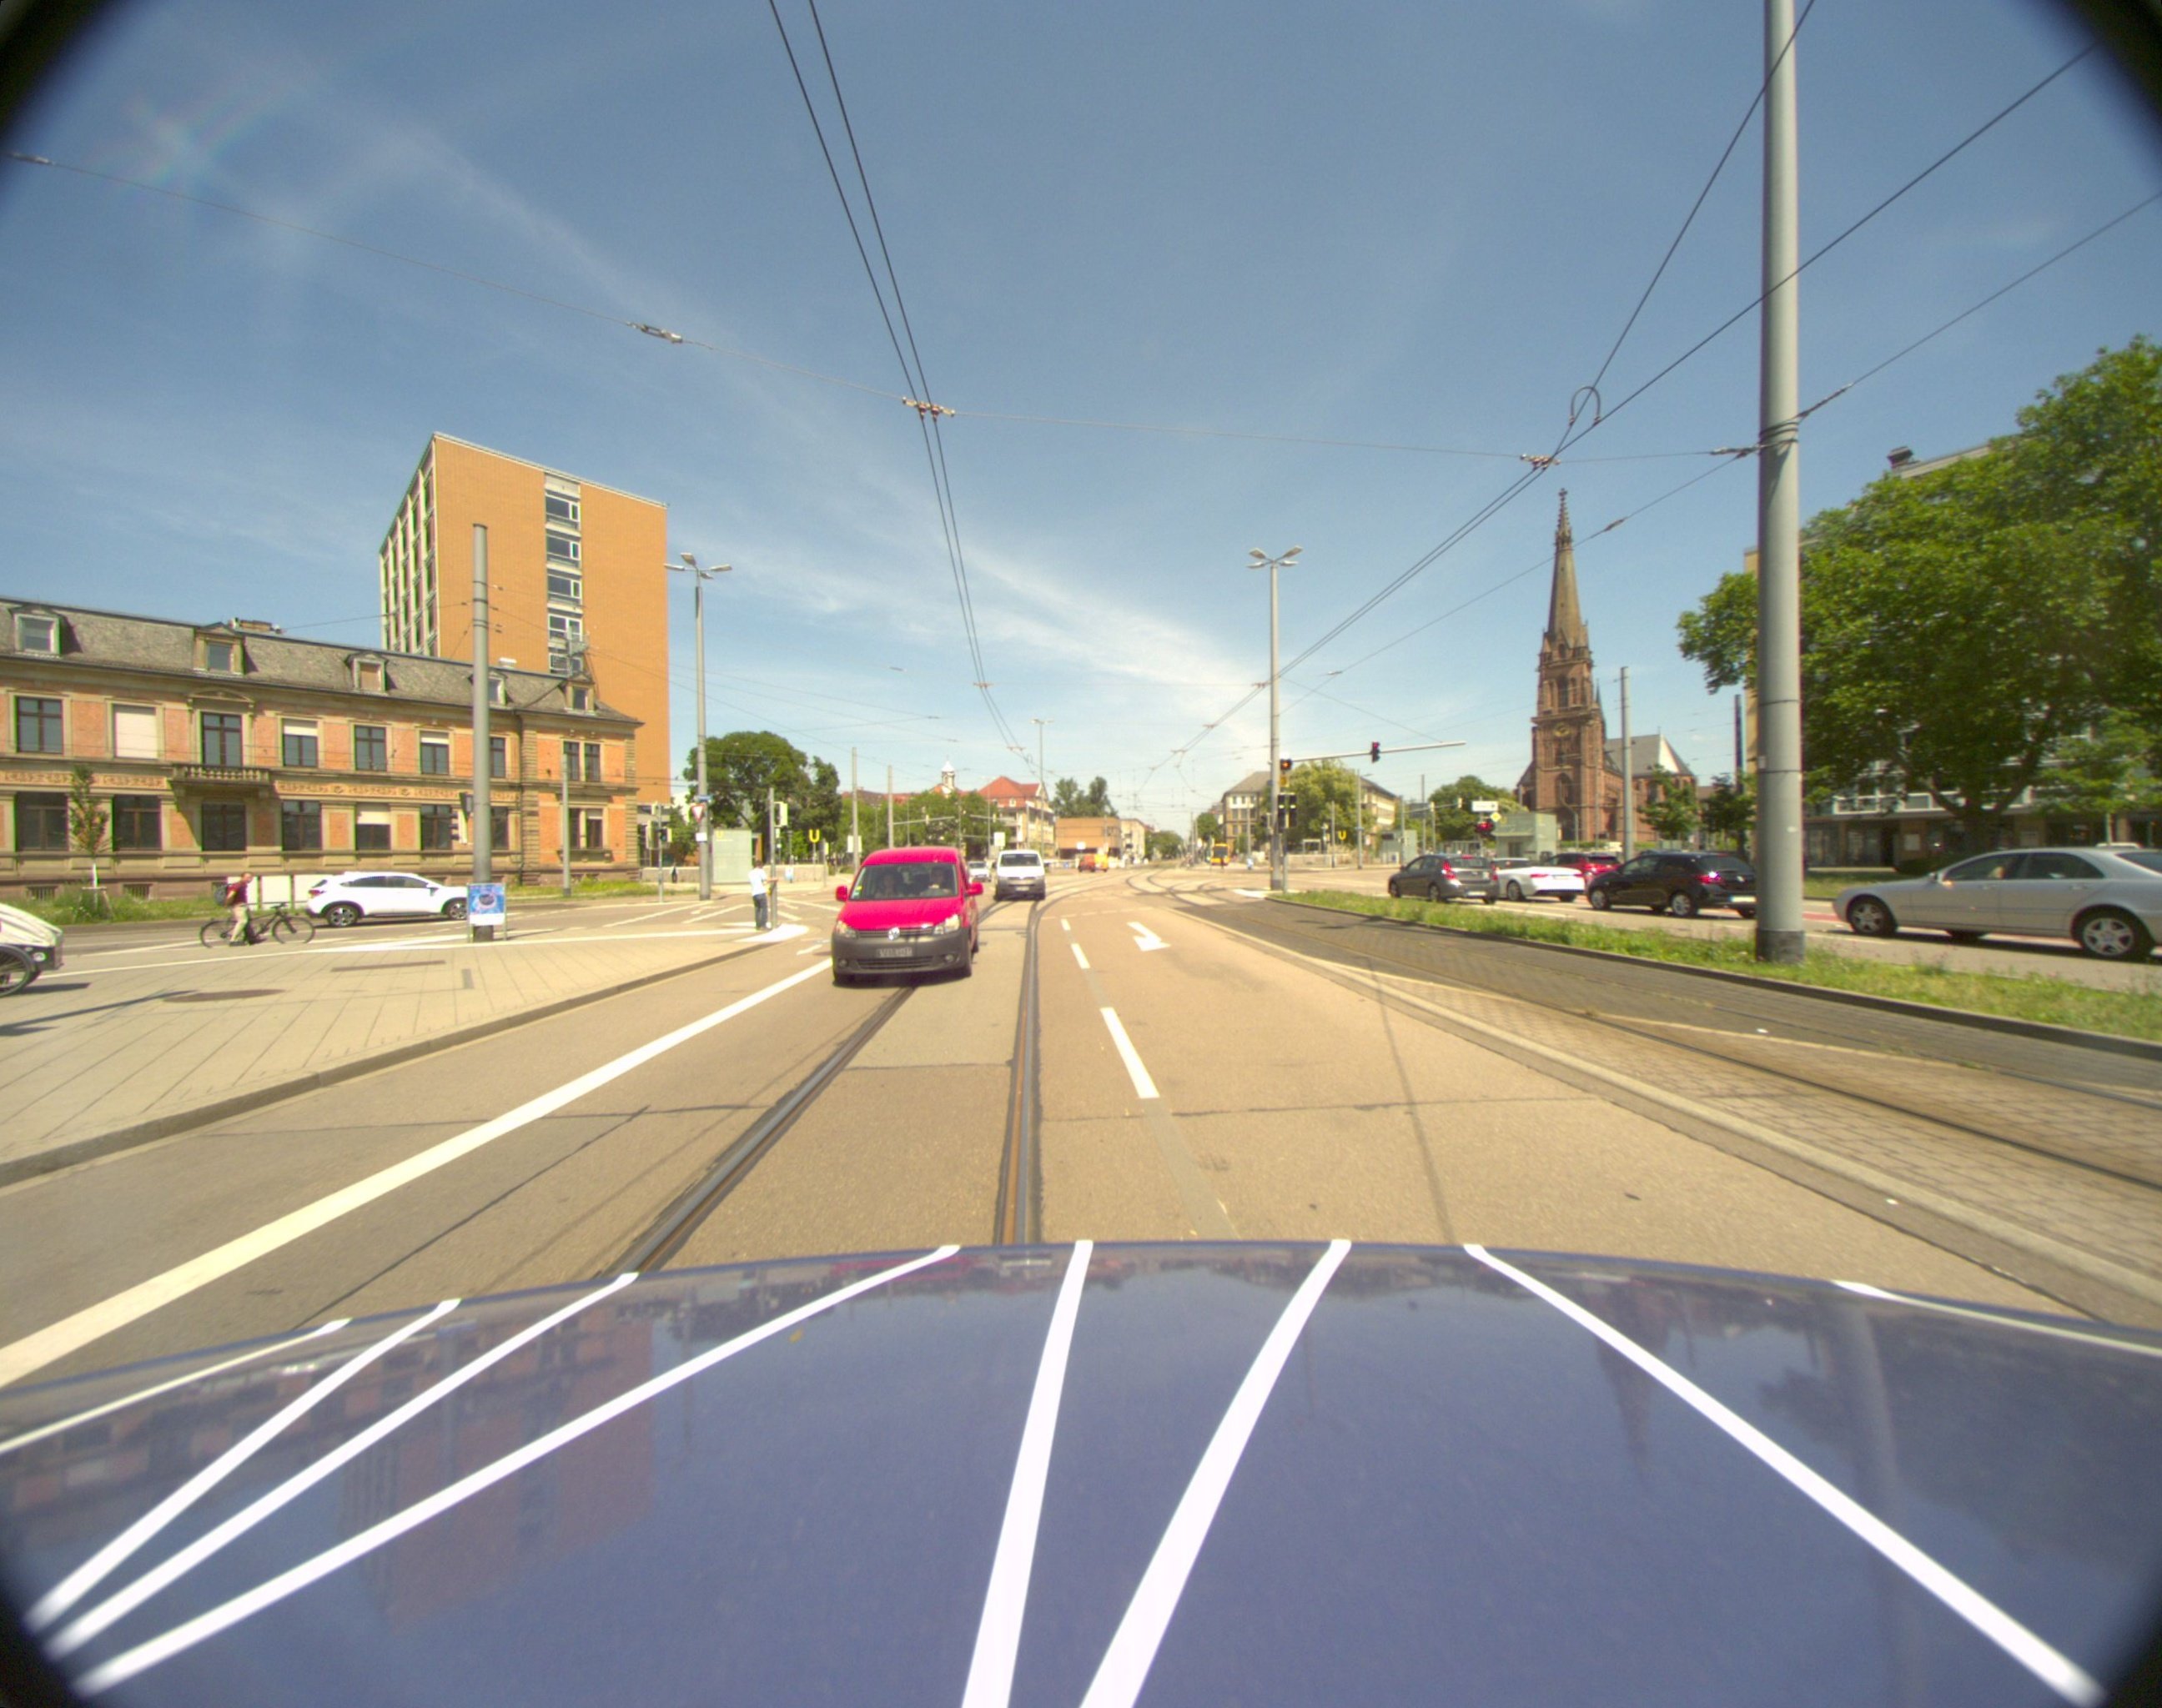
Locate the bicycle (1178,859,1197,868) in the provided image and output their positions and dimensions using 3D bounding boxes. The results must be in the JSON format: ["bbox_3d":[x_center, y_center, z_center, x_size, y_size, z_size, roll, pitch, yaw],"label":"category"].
[{"bbox_3d":[11.577,1.002,82.550,1.906,0.973,0.528,-1,0,-7],"label":"bicycle"}]

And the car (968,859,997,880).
[{"bbox_3d":[-7.054,1.077,54.118,1.573,1.346,3.454,-1,0,-15],"label":"car"}]

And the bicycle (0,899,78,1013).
[{"bbox_3d":[-13.205,1.203,8.531,1.096,1.243,2.225,-1,0,43],"label":"bicycle"}]

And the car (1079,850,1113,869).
[{"bbox_3d":[1.609,0.655,84.685,2.002,2.002,4.586,-1,0,-25],"label":"car"}]

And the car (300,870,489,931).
[{"bbox_3d":[-20.951,1.354,23.401,4.184,1.596,1.703,-1,0,-41],"label":"car"}]

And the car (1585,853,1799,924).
[{"bbox_3d":[13.817,0.712,17.509,1.675,1.453,3.902,0,0,-3],"label":"car"}]

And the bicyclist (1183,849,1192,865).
[{"bbox_3d":[11.562,0.322,82.616,0.813,1.678,0.528,-1,1,-7],"label":"bicyclist"}]

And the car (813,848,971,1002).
[{"bbox_3d":[-2.556,0.848,11.186,1.756,1.802,4.094,-1,0,-7],"label":"car"}]

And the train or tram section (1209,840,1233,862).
[{"bbox_3d":[20.675,-0.423,112.671,2.840,3.195,9.114,-1,0,7],"label":"train or tram section"}]

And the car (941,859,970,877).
[{"bbox_3d":[-12.421,1.356,74.802,2.002,1.714,3.993,-1,0,-22],"label":"car"}]

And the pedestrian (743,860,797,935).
[{"bbox_3d":[-7.640,1.049,18.682,0.808,1.769,0.876,-1,1,30],"label":"pedestrian"}]

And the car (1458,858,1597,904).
[{"bbox_3d":[13.851,0.788,23.874,1.711,1.291,4.201,0,0,-3],"label":"car"}]

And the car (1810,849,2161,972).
[{"bbox_3d":[14.298,0.696,11.208,1.999,1.521,5.129,1,0,-3],"label":"car"}]

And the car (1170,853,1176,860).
[{"bbox_3d":[22.515,0.538,185.758,1.439,1.586,4.002,-1,0,7],"label":"car"}]

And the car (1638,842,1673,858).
[{"bbox_3d":[59.556,-0.398,78.754,4.007,1.521,1.775,-1,0,-37],"label":"car"}]

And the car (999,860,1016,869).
[{"bbox_3d":[-11.931,1.712,123.198,1.541,1.450,2.980,-2,0,-31],"label":"car"}]

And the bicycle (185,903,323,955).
[{"bbox_3d":[-18.832,1.680,17.378,2.023,0.999,0.724,-1,0,-38],"label":"bicycle"}]

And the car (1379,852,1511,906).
[{"bbox_3d":[10.868,0.701,23.046,1.848,1.471,4.329,0,0,-1],"label":"car"}]

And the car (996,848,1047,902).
[{"bbox_3d":[-2.353,0.777,30.251,1.875,1.954,3.822,-1,0,-4],"label":"car"}]

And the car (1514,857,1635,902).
[{"bbox_3d":[18.637,0.917,28.958,1.538,1.588,4.398,0,0,-3],"label":"car"}]

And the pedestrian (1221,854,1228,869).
[{"bbox_3d":[15.907,0.837,84.345,0.657,1.661,0.449,-1,1,-18],"label":"pedestrian"}]
